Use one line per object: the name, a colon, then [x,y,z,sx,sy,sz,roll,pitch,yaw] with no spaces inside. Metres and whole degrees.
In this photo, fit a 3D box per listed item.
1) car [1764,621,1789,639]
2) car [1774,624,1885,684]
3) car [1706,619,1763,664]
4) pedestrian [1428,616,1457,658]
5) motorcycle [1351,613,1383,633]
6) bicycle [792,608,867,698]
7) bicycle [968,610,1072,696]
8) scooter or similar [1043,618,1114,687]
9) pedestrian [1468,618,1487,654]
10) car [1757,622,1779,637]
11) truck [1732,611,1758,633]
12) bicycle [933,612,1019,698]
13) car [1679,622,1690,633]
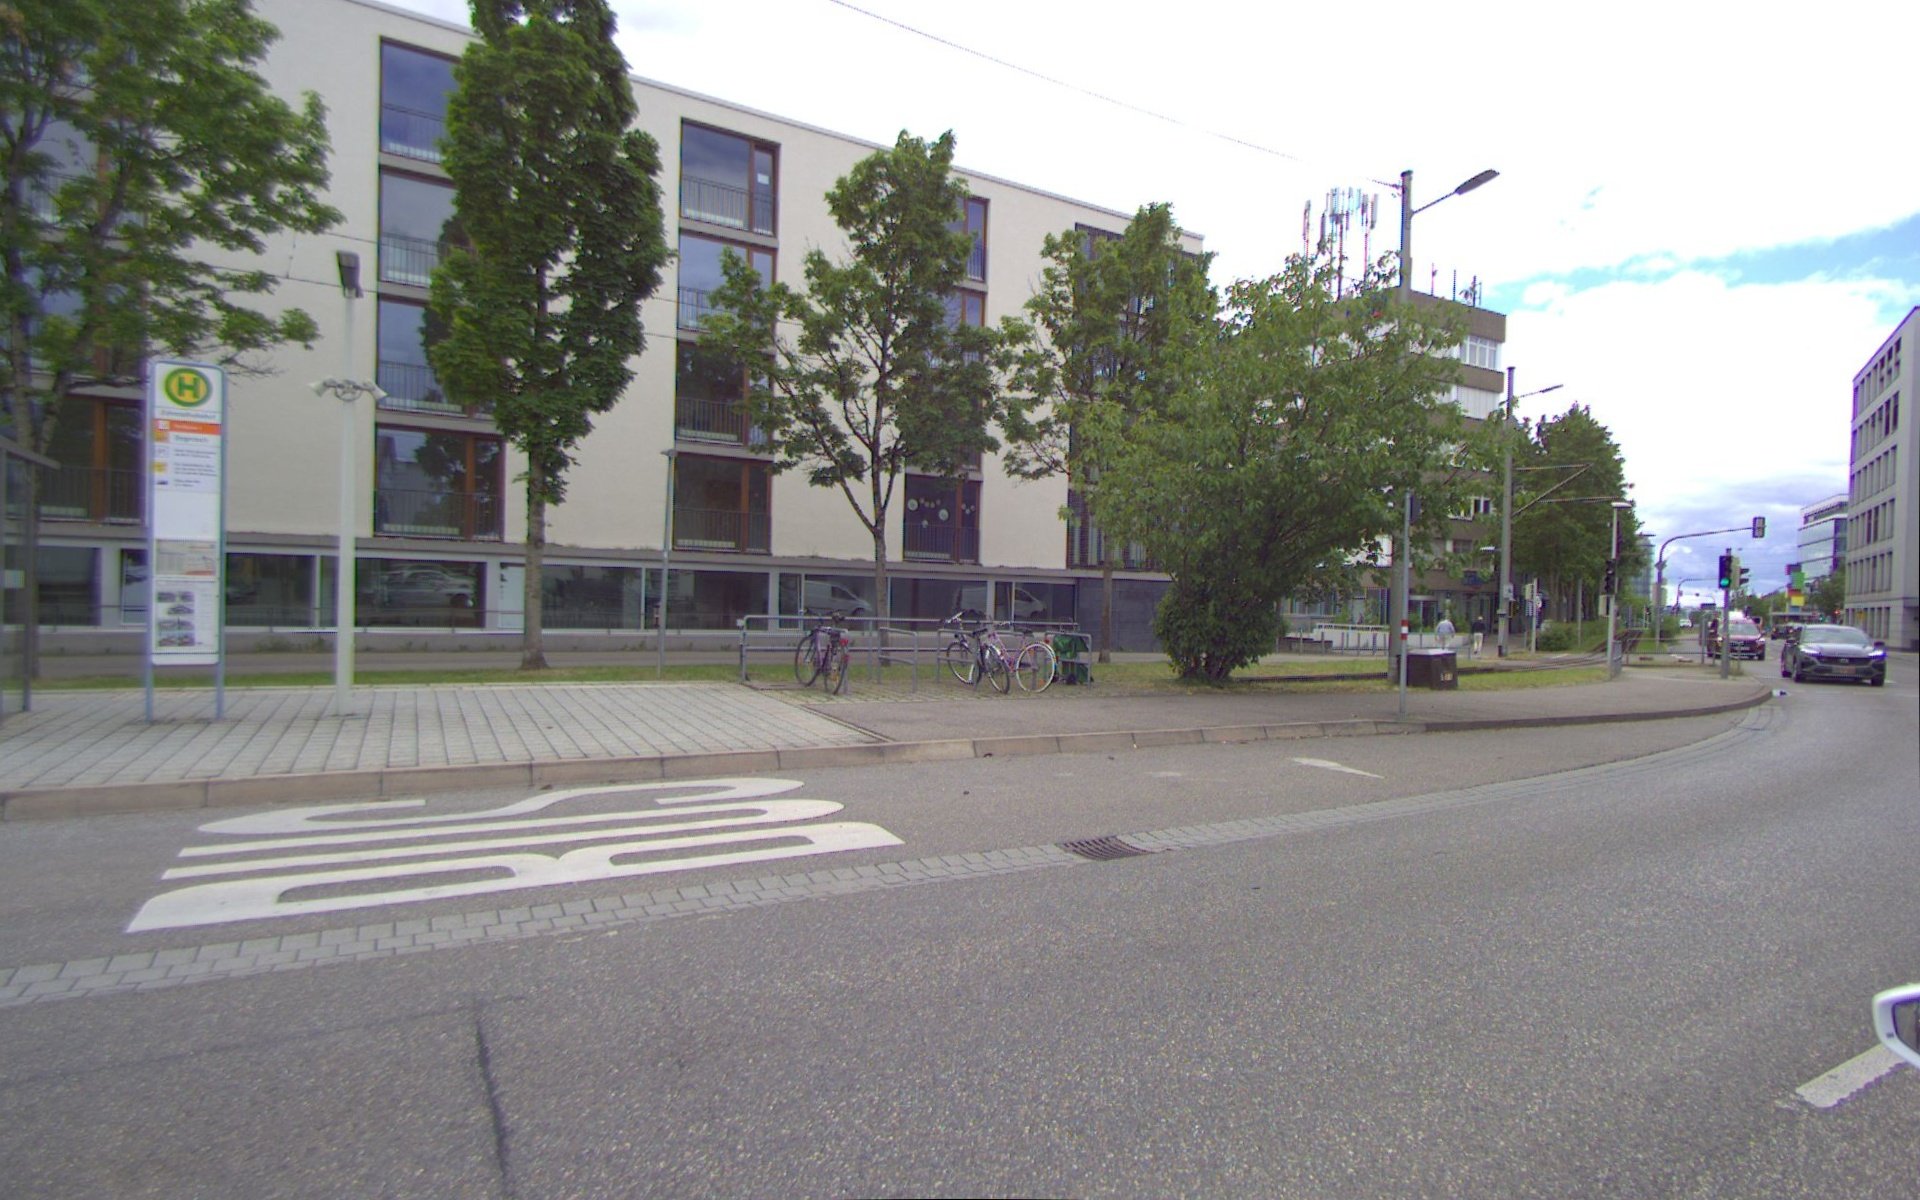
car: [81.032,2.970,99.706,1.737,1.630,4.171,2,0,38]
car: [23.568,1.402,27.365,1.743,1.498,3.989,-1,-2,33]
car: [33.780,1.777,43.890,1.658,1.832,4.340,-1,-2,33]
pedestrian: [18.308,1.403,38.105,0.836,1.547,0.993,0,-1,34]
motorcycle: [25.489,1.430,63.004,0.562,1.215,1.868,1,0,-32]
bicycle: [-1.754,0.673,13.296,0.391,1.039,1.680,1,2,-28]
bicycle: [0.843,0.736,14.592,0.405,1.103,1.689,1,2,-42]
scooter or similar: [1.845,0.802,15.691,0.767,1.023,0.781,1,0,-38]
pedestrian: [24.564,1.703,47.698,0.679,1.728,0.680,0,-1,37]
car: [91.779,3.362,114.119,1.737,1.630,4.171,2,0,38]
truck: [100.689,2.776,128.861,2.136,2.650,5.779,1,0,34]
bicycle: [0.197,0.740,14.228,0.403,1.060,1.741,1,2,-28]
car: [134.130,5.020,186.005,1.645,1.907,3.986,2,0,36]
